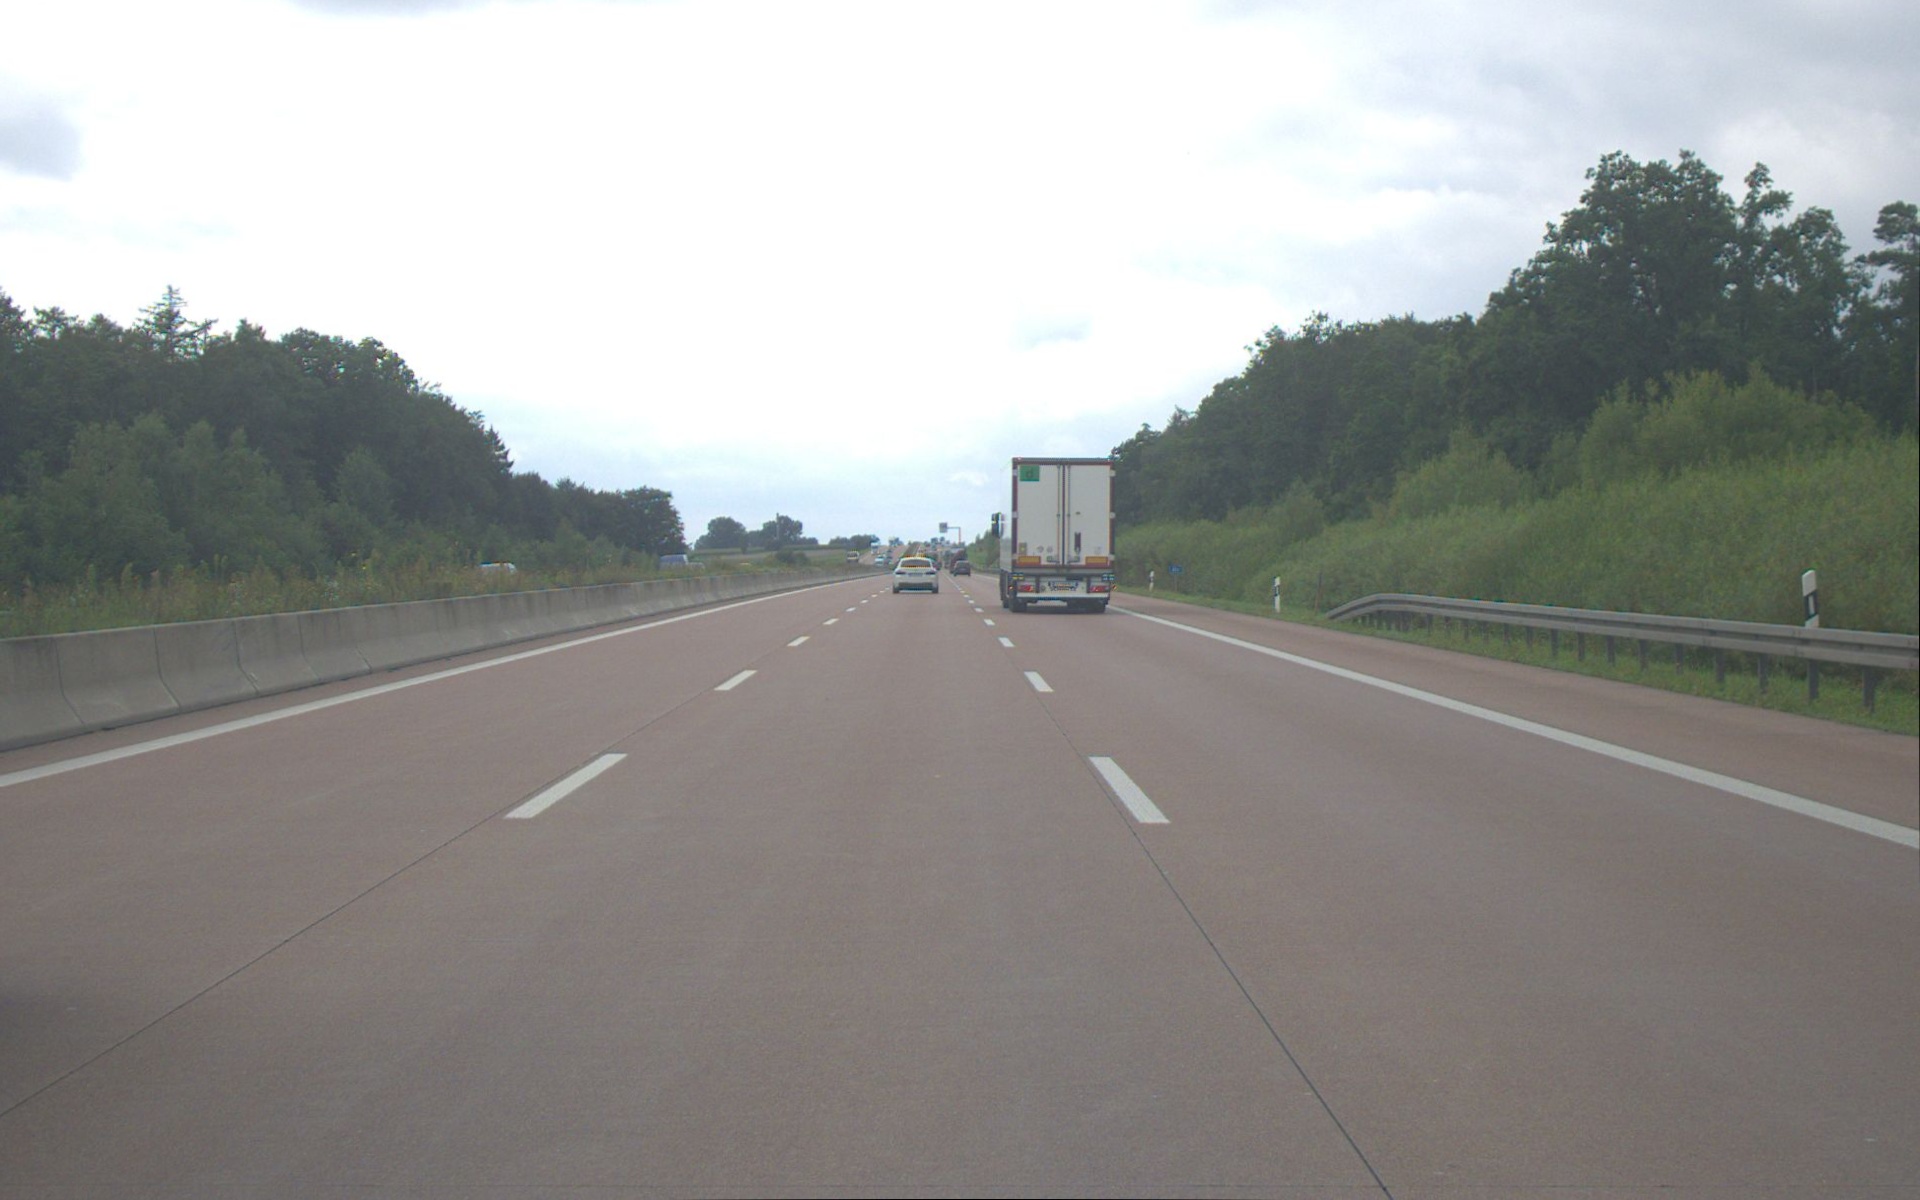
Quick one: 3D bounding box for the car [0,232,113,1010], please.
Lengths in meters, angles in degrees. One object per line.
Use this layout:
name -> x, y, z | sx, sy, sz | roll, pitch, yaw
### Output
car -> -4.140, 0.112, 8.948 | 2.137, 2.498, 7.132 | 0, 1, 0

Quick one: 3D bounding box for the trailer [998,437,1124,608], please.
trailer -> 2.605, -2.172, 92.789 | 2.921, 4.279, 13.615 | 0, 2, 0

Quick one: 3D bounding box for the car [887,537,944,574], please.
car -> -1.805, -1.840, 141.087 | 2.163, 1.446, 4.718 | 1, 1, 1
